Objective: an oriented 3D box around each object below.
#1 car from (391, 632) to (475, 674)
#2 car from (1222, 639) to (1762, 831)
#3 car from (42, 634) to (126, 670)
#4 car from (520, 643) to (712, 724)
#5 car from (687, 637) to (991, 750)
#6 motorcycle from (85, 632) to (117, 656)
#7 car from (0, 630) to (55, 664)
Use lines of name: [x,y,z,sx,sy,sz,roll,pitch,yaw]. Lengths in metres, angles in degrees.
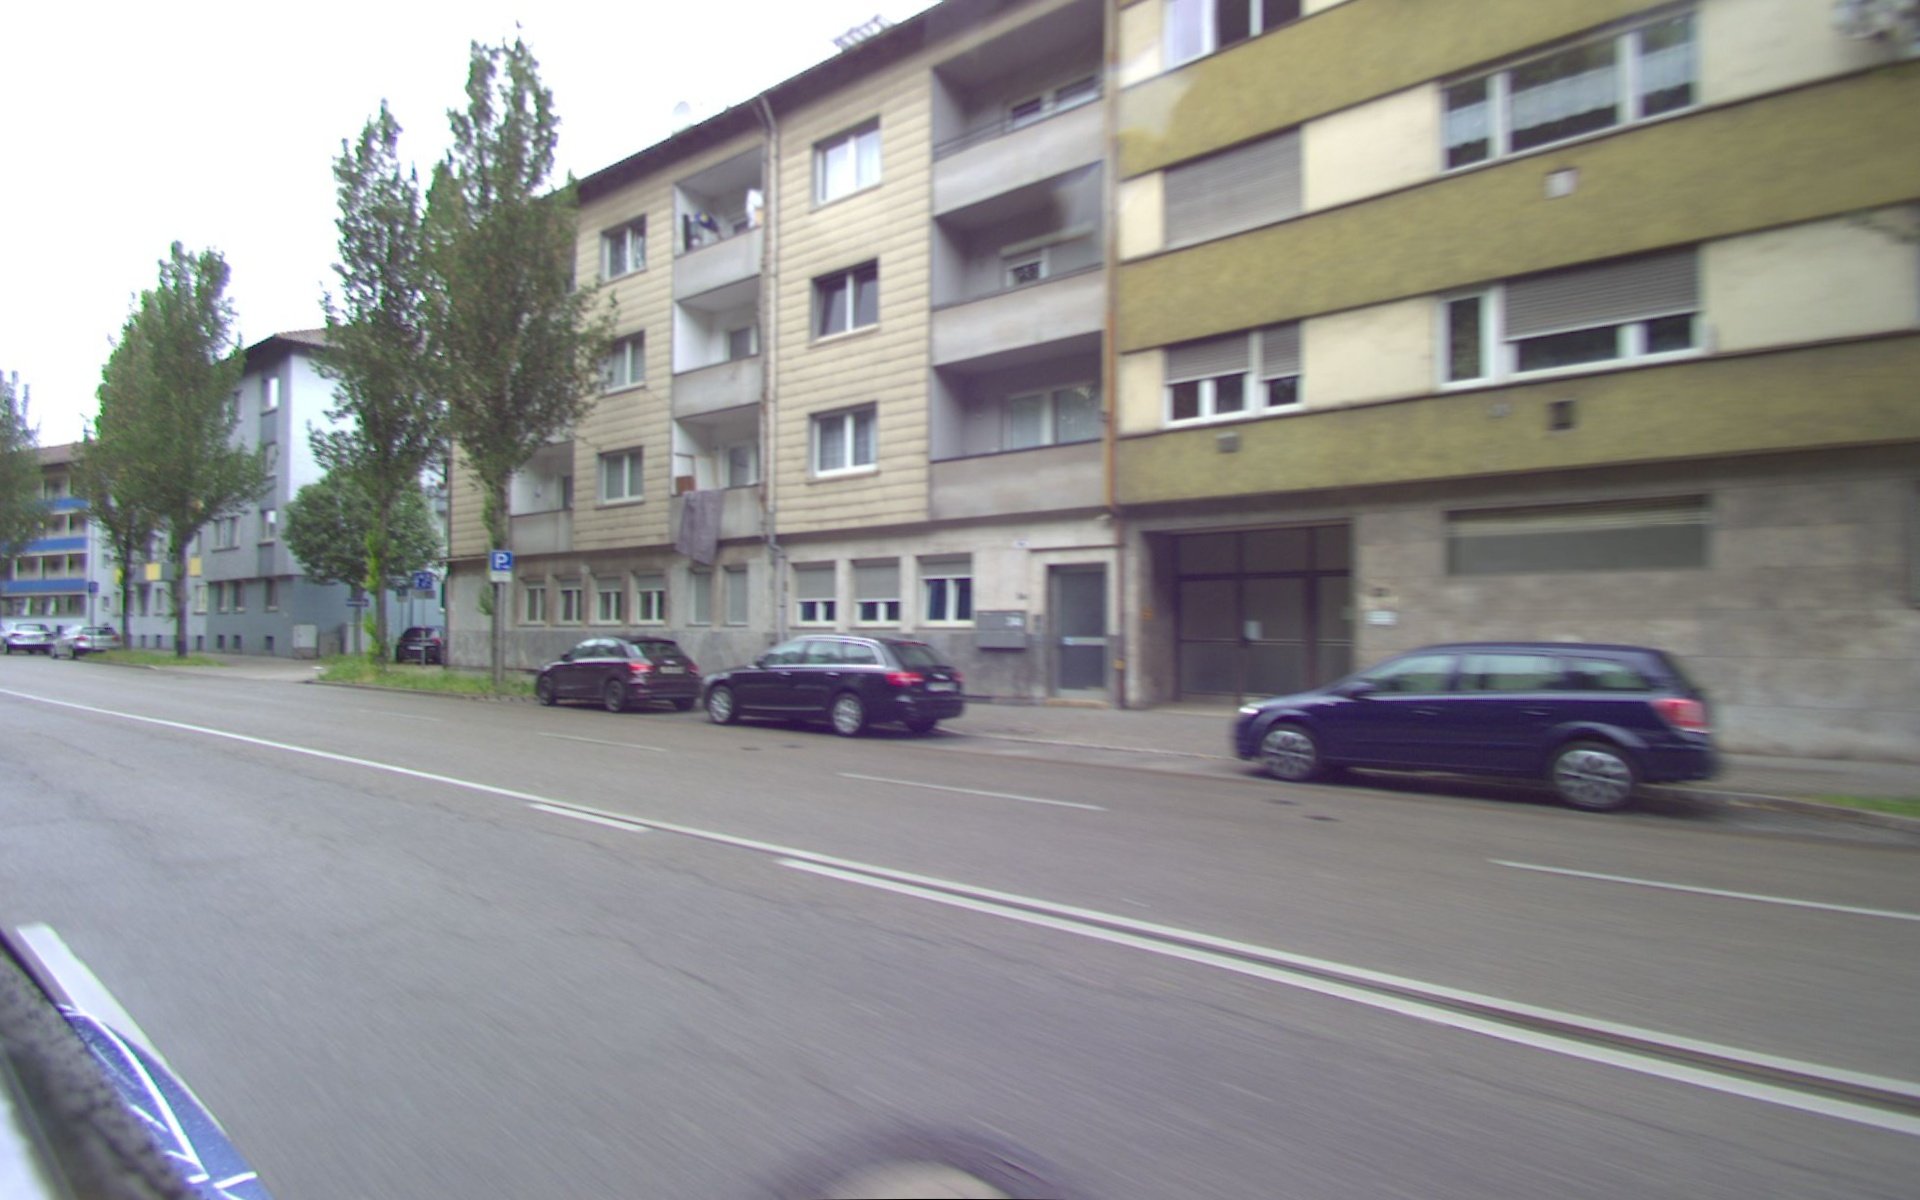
car: [-20.868,2.082,40.228,1.686,1.505,4.007,2,-3,-9]
car: [5.076,1.176,10.068,4.509,1.500,1.701,-2,-5,39]
car: [-38.235,2.262,44.141,4.195,1.464,1.709,-1,-4,35]
car: [-6.698,1.553,19.551,3.984,1.397,1.610,-2,-4,39]
car: [-1.987,1.363,15.692,4.782,1.500,1.800,-2,-5,38]
motorcycle: [-52.917,2.688,62.354,2.224,1.425,0.671,-1,0,26]
car: [-47.165,2.351,50.611,4.521,1.616,1.749,-1,-4,34]
